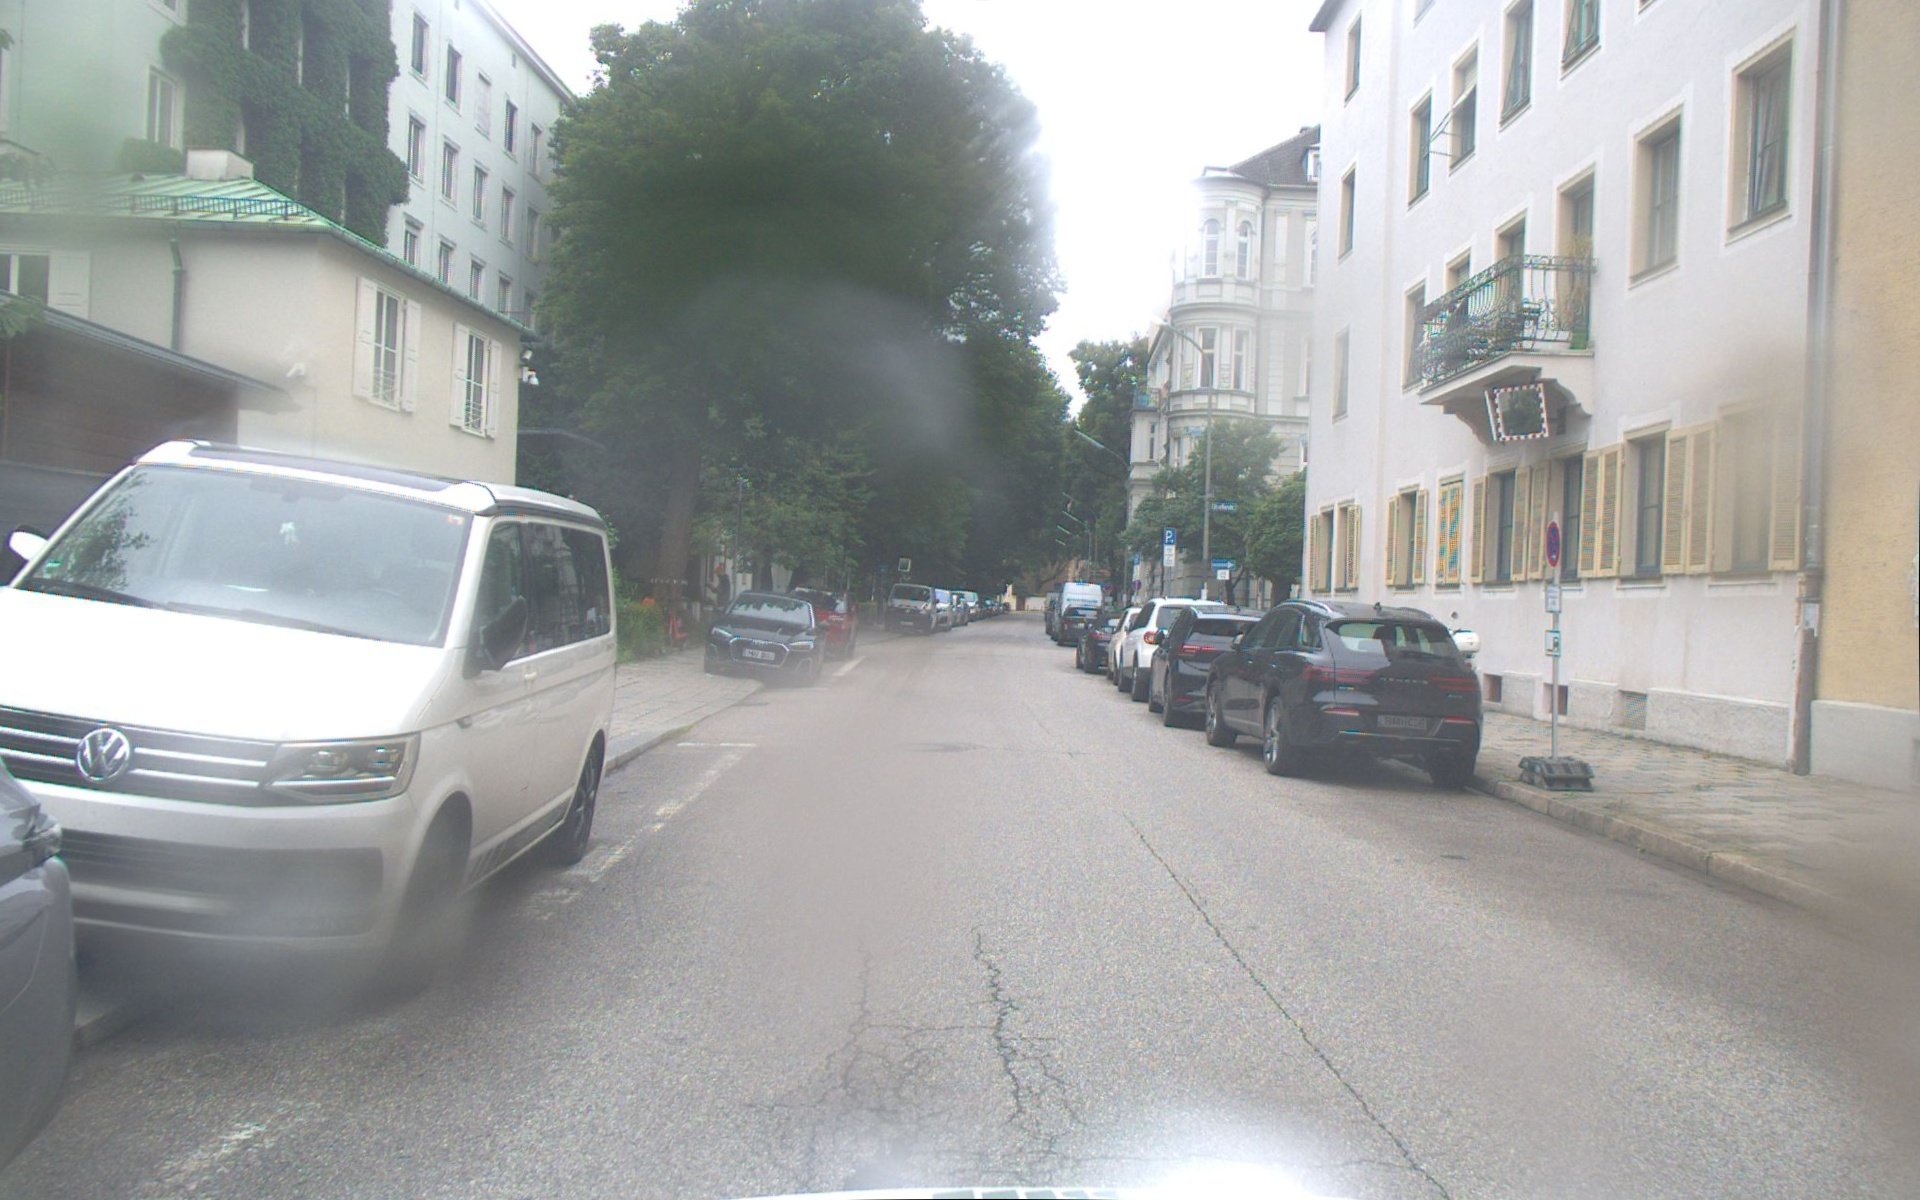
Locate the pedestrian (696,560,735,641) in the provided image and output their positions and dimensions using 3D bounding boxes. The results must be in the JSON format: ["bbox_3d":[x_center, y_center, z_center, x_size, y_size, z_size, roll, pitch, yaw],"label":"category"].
[{"bbox_3d":[-5.847,0.007,39.529,0.698,1.885,0.797,3,-1,0],"label":"pedestrian"}]

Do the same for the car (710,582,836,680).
[{"bbox_3d":[-3.120,0.486,28.482,1.771,1.426,4.921,4,0,-3],"label":"car"}]

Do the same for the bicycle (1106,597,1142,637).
[{"bbox_3d":[6.507,0.668,65.727,0.695,1.542,2.031,2,0,-14],"label":"bicycle"}]

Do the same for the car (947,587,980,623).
[{"bbox_3d":[0.279,0.353,111.068,1.961,2.224,4.696,3,0,1],"label":"car"}]

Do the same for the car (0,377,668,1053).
[{"bbox_3d":[-2.722,0.340,7.710,1.927,2.025,5.149,4,0,-3],"label":"car"}]

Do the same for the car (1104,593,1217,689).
[{"bbox_3d":[3.851,0.763,32.318,1.735,1.572,3.712,7,0,2],"label":"car"}]

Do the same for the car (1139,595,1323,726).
[{"bbox_3d":[3.545,0.730,22.392,1.800,1.558,4.416,1,0,1],"label":"car"}]

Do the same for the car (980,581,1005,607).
[{"bbox_3d":[2.947,-0.506,150.813,2.006,2.192,4.313,3,0,-1],"label":"car"}]

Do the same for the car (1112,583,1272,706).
[{"bbox_3d":[3.773,0.678,27.696,1.953,1.736,4.534,4,0,0],"label":"car"}]

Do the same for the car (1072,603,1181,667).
[{"bbox_3d":[3.674,0.744,37.195,1.959,1.342,4.595,0,0,0],"label":"car"}]

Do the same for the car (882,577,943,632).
[{"bbox_3d":[-1.863,0.185,66.375,2.202,1.990,5.453,4,0,-1],"label":"car"}]

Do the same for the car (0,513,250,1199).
[{"bbox_3d":[-2.585,0.599,1.738,1.850,1.570,4.692,2,0,-4],"label":"car"}]

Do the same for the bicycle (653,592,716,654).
[{"bbox_3d":[-5.330,0.427,32.124,0.635,1.150,2.049,2,0,6],"label":"bicycle"}]

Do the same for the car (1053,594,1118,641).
[{"bbox_3d":[4.484,0.626,59.322,2.225,1.573,4.589,1,0,4],"label":"car"}]

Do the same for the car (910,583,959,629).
[{"bbox_3d":[-1.199,0.265,78.084,2.139,1.990,5.166,4,0,-1],"label":"car"}]

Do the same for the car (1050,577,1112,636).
[{"bbox_3d":[4.789,0.281,66.284,2.158,2.247,4.855,1,0,1],"label":"car"}]

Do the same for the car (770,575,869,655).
[{"bbox_3d":[-3.174,0.330,38.218,1.849,1.618,4.527,4,0,0],"label":"car"}]

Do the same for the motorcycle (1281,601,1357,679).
[{"bbox_3d":[7.238,0.779,33.466,0.840,1.458,2.706,2,0,-2],"label":"motorcycle"}]

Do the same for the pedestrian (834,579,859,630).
[{"bbox_3d":[-3.674,0.142,53.467,0.699,1.575,0.752,4,0,-4],"label":"pedestrian"}]

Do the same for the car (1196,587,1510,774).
[{"bbox_3d":[3.803,0.703,16.957,1.823,1.604,4.897,1,0,-3],"label":"car"}]

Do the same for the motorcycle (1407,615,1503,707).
[{"bbox_3d":[7.357,0.887,24.676,0.717,1.260,2.007,3,0,-1],"label":"motorcycle"}]

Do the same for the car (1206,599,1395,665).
[{"bbox_3d":[9.381,0.880,45.886,4.806,1.558,1.913,2,2,-1],"label":"car"}]
